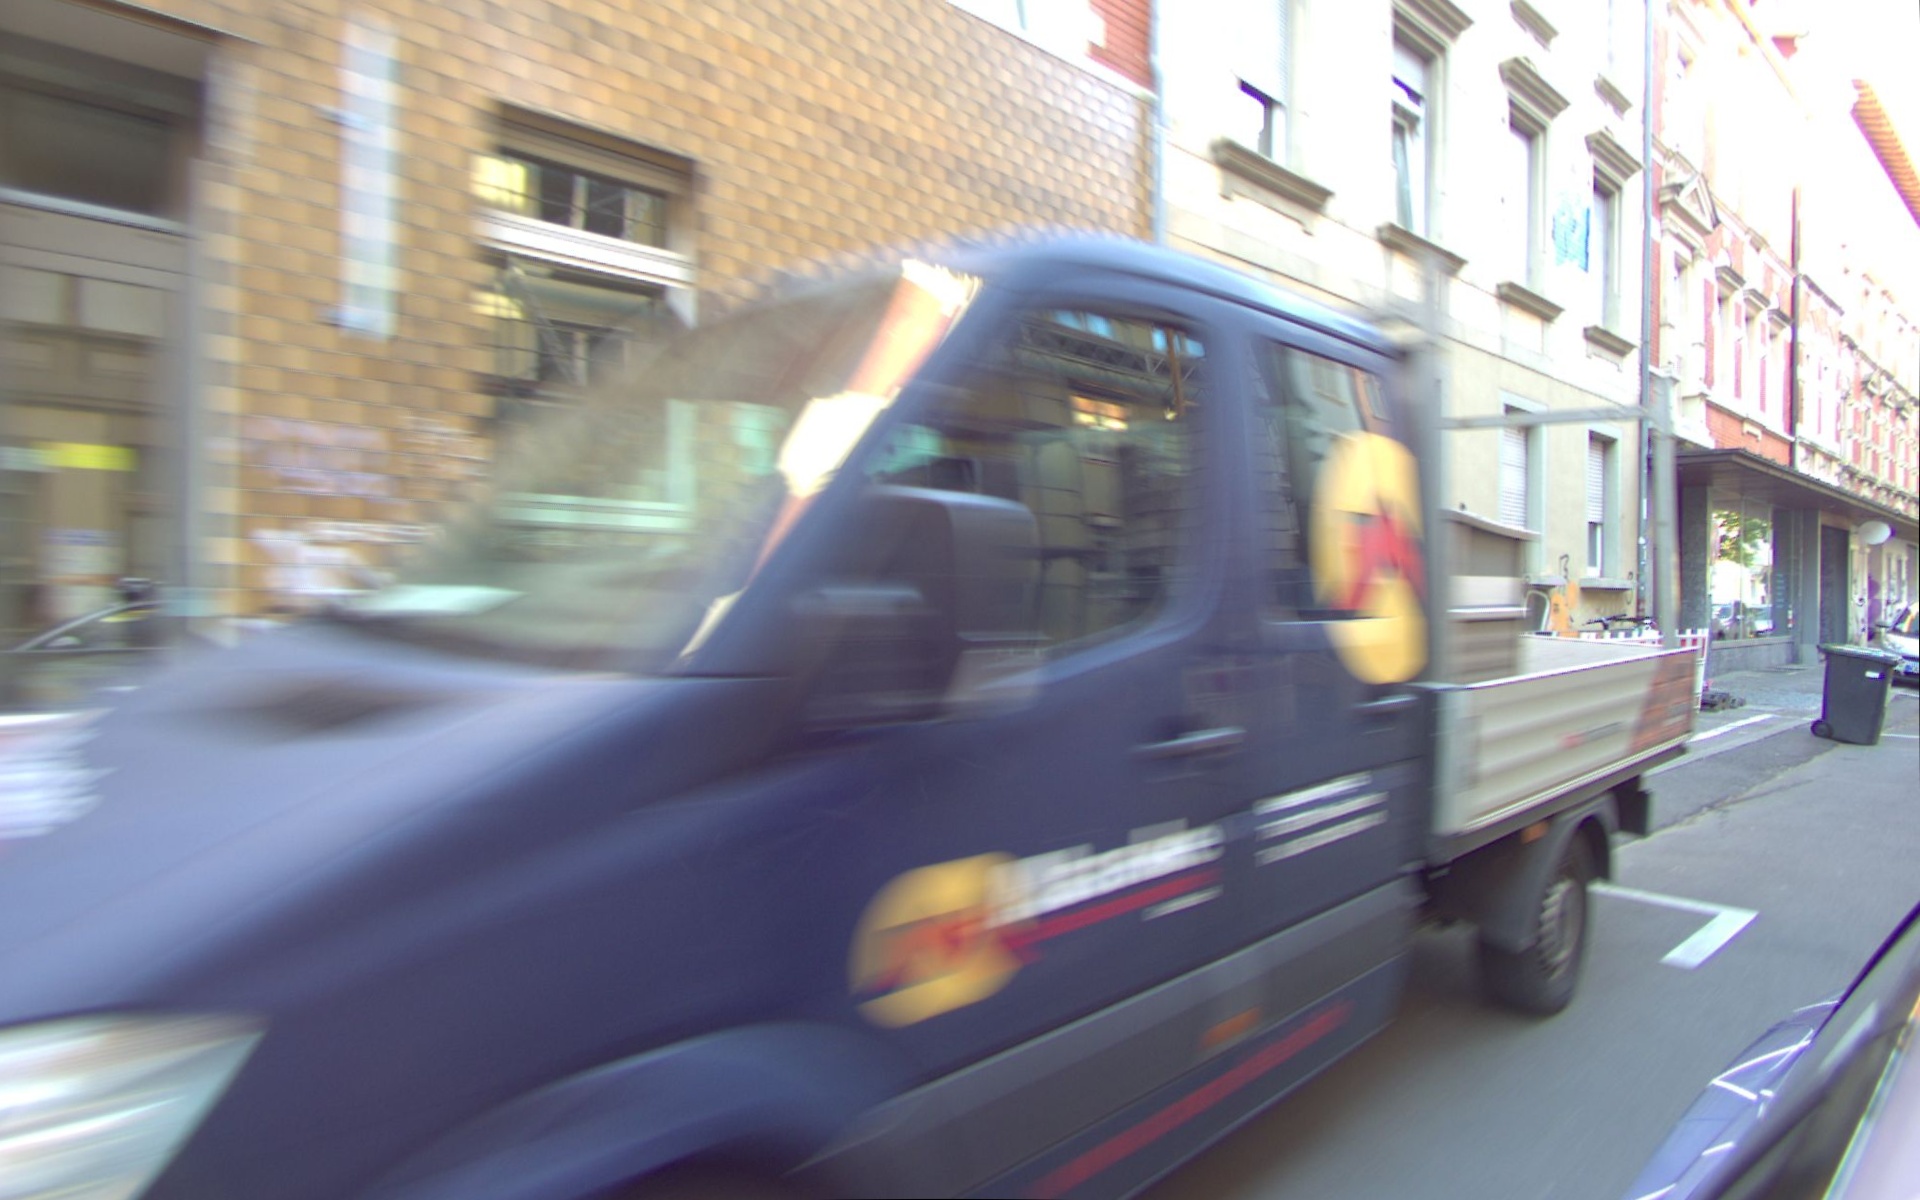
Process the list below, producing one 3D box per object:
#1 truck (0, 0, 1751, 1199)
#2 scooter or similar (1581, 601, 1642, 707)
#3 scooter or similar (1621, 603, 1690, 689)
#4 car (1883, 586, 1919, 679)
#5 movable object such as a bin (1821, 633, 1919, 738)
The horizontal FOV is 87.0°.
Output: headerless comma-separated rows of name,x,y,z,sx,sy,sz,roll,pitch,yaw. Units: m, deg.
truck,0.562,0.123,3.421,6.146,2.689,2.153,0,5,-42
scooter or similar,8.385,0.658,13.003,0.454,1.224,1.424,5,4,38
scooter or similar,10.063,0.640,14.620,1.418,1.157,0.389,0,4,-40
car,17.940,0.615,18.103,3.401,1.552,1.526,0,6,-40
movable object such as a bin,10.195,0.927,11.309,0.675,1.070,0.742,0,1,-39
